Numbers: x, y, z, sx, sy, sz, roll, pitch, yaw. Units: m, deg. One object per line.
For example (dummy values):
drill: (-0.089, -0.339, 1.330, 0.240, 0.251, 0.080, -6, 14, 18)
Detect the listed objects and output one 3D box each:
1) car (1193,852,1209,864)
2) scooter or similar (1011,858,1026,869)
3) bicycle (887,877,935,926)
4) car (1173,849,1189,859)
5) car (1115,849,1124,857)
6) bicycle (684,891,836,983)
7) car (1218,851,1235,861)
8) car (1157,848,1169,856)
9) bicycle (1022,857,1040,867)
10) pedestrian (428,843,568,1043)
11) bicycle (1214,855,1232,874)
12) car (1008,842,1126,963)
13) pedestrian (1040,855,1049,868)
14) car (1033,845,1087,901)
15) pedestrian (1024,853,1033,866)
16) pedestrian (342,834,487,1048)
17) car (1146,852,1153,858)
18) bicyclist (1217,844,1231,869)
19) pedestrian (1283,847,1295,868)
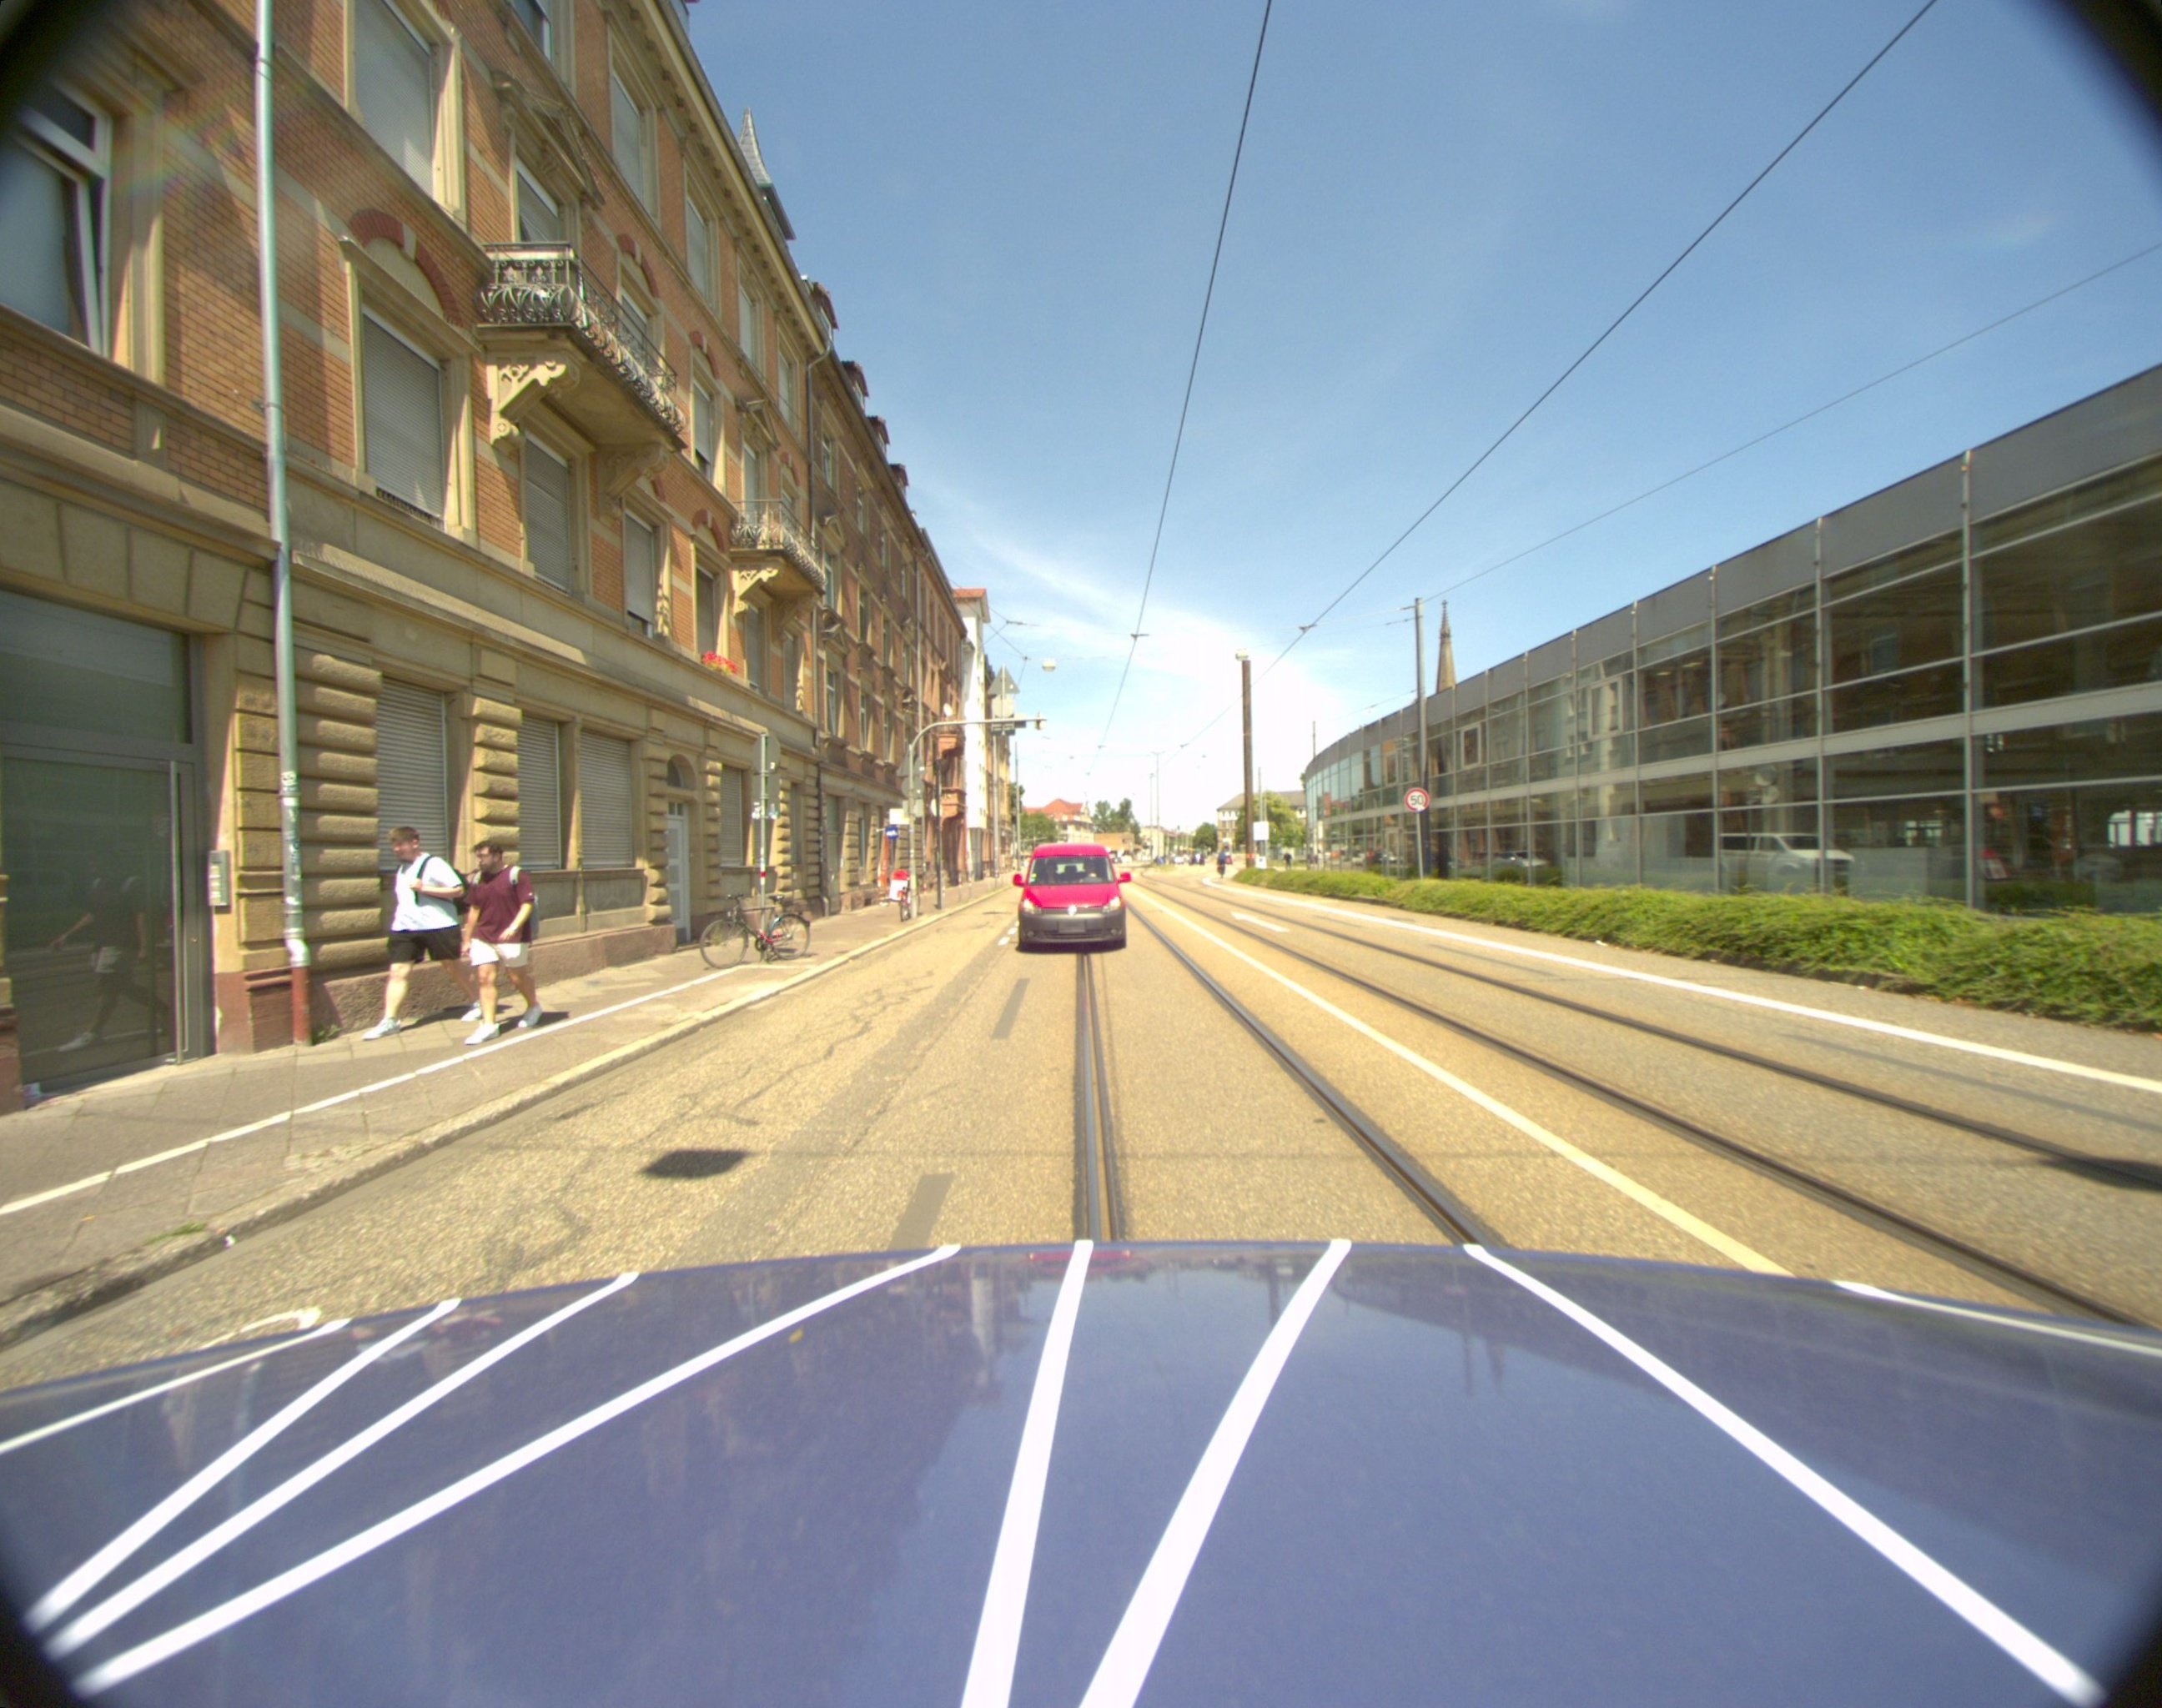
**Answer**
car: (17.070, 0.515, 108.469, 1.826, 1.617, 4.526, 0, 0, 3)
scooter or similar: (-7.019, 1.042, 85.899, 1.527, 1.149, 0.713, -1, 0, -28)
bicycle: (-4.276, 1.166, 19.299, 0.448, 1.090, 2.423, -1, 0, 6)
car: (16.966, -0.013, 129.374, 1.998, 1.521, 5.131, 0, 0, 0)
car: (8.105, -0.209, 159.565, 1.848, 1.471, 4.330, 0, 0, 2)
bicycle: (-4.699, 1.176, 11.342, 0.499, 1.124, 2.247, 0, 0, 29)
car: (21.910, 0.267, 114.503, 1.762, 1.359, 4.289, -2, 0, 2)
car: (15.177, -0.287, 140.562, 1.675, 1.453, 3.903, 0, 0, 0)
bicycle: (-6.609, 1.019, 101.019, 2.225, 1.243, 1.096, -1, 0, -44)
pedestrian: (-5.236, 0.769, 6.864, 0.722, 1.710, 0.643, -1, 1, 1)
bicycle: (9.004, 0.656, 48.275, 0.699, 1.138, 2.495, -1, 0, 0)
car: (-0.173, 0.740, 13.639, 1.755, 1.802, 4.097, -2, 0, 1)
pedestrian: (-5.127, 0.997, 105.817, 0.808, 1.769, 0.876, -1, 1, 33)
car: (-0.800, 0.677, 29.048, 1.874, 1.954, 3.823, -2, 0, -1)
pedestrian: (-6.936, 0.705, 100.703, 0.826, 1.765, 0.812, -3, 2, -44)
pedestrian: (-6.054, 0.756, 6.934, 0.704, 1.838, 0.643, 2, 1, 1)
car: (17.877, 0.178, 198.072, 1.552, 1.527, 3.679, -2, 0, 0)
bicyclist: (9.025, 0.177, 48.025, 0.699, 1.539, 0.980, -1, 1, 0)
pedestrian: (16.443, 0.259, 60.002, 0.729, 1.632, 0.820, -1, 1, 4)
